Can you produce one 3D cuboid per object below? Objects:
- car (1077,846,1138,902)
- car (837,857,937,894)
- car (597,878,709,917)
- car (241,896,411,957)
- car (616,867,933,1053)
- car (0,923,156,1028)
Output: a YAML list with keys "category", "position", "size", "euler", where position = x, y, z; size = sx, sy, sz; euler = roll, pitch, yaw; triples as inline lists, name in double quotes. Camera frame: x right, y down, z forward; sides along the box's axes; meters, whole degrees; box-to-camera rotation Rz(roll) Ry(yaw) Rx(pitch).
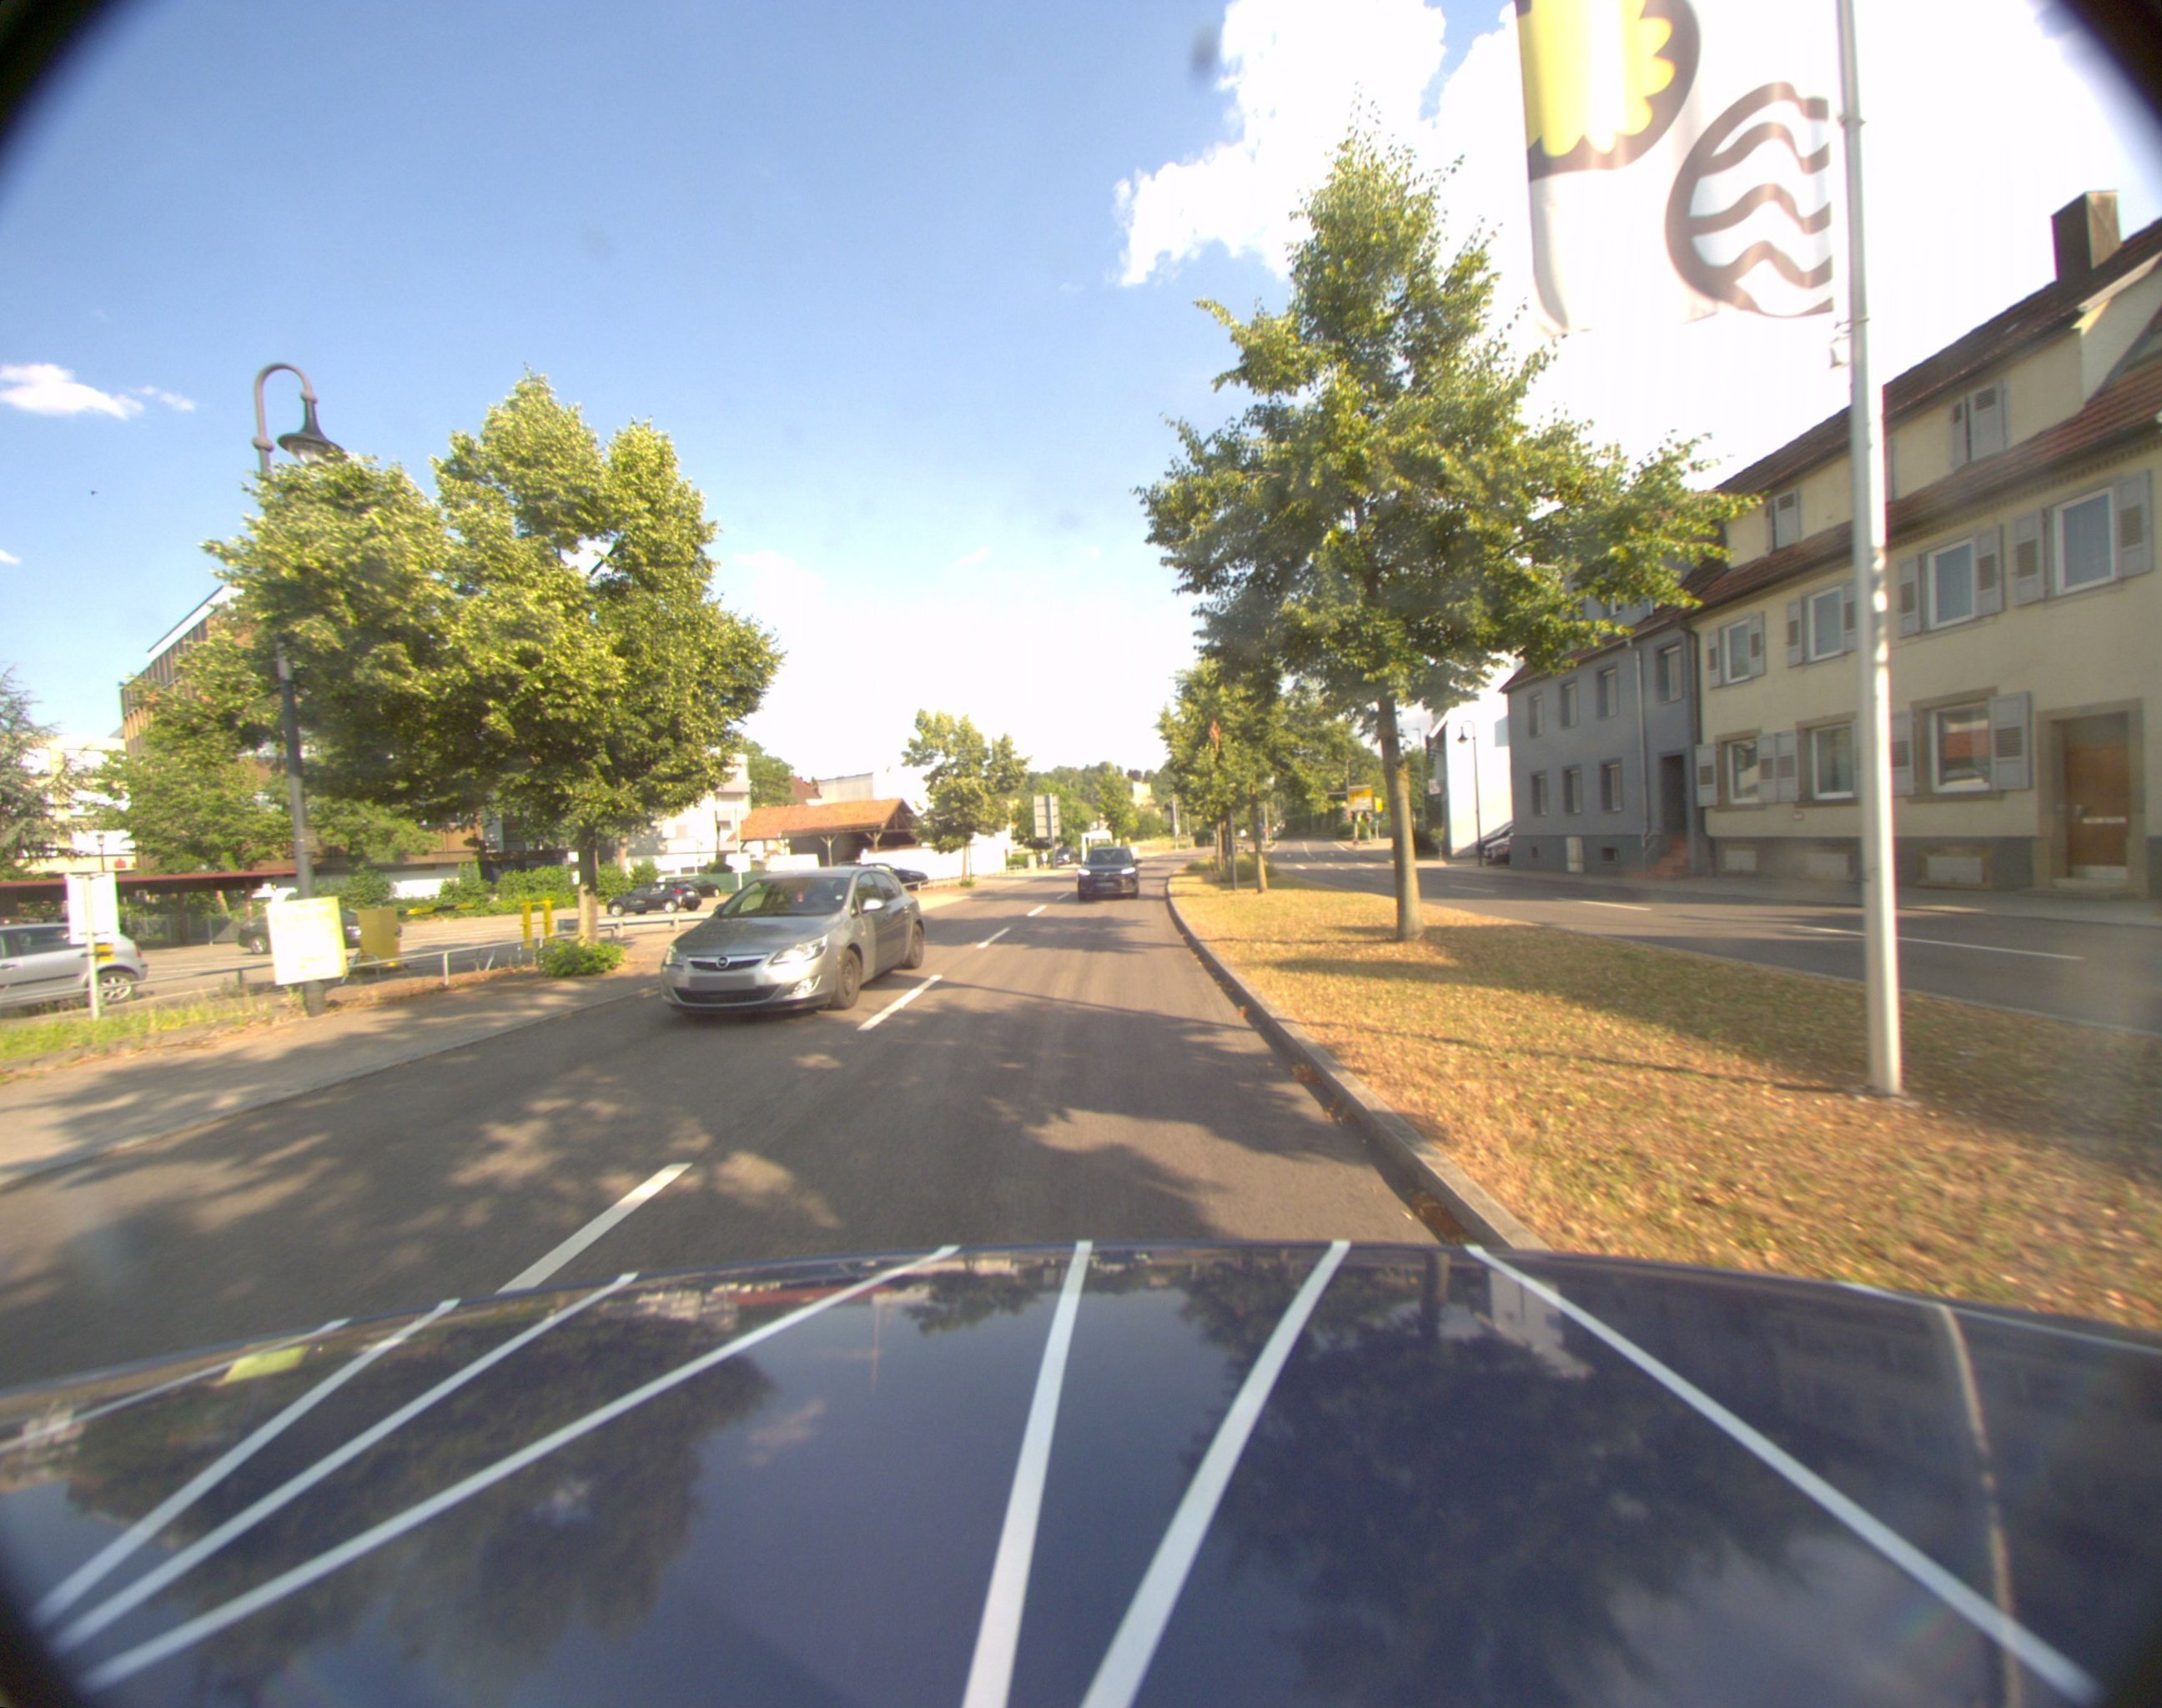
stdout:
- category: "car"
  position: [0.920, 0.574, 24.560]
  size: [1.725, 1.605, 4.262]
  euler: [-2, 0, 4]
- category: "car"
  position: [-8.740, 0.951, 34.437]
  size: [3.833, 1.412, 1.939]
  euler: [-4, 0, 6]
- category: "car"
  position: [-19.389, 1.950, 34.523]
  size: [3.995, 1.412, 1.939]
  euler: [-4, 0, 6]
- category: "car"
  position: [-25.248, 2.397, 25.480]
  size: [4.079, 1.645, 1.939]
  euler: [-4, 1, 9]
- category: "car"
  position: [-3.131, 0.982, 8.868]
  size: [1.725, 1.481, 4.307]
  euler: [-2, 0, 3]
- category: "car"
  position: [-16.843, 1.932, 11.446]
  size: [1.614, 1.391, 3.268]
  euler: [-4, 0, 6]
